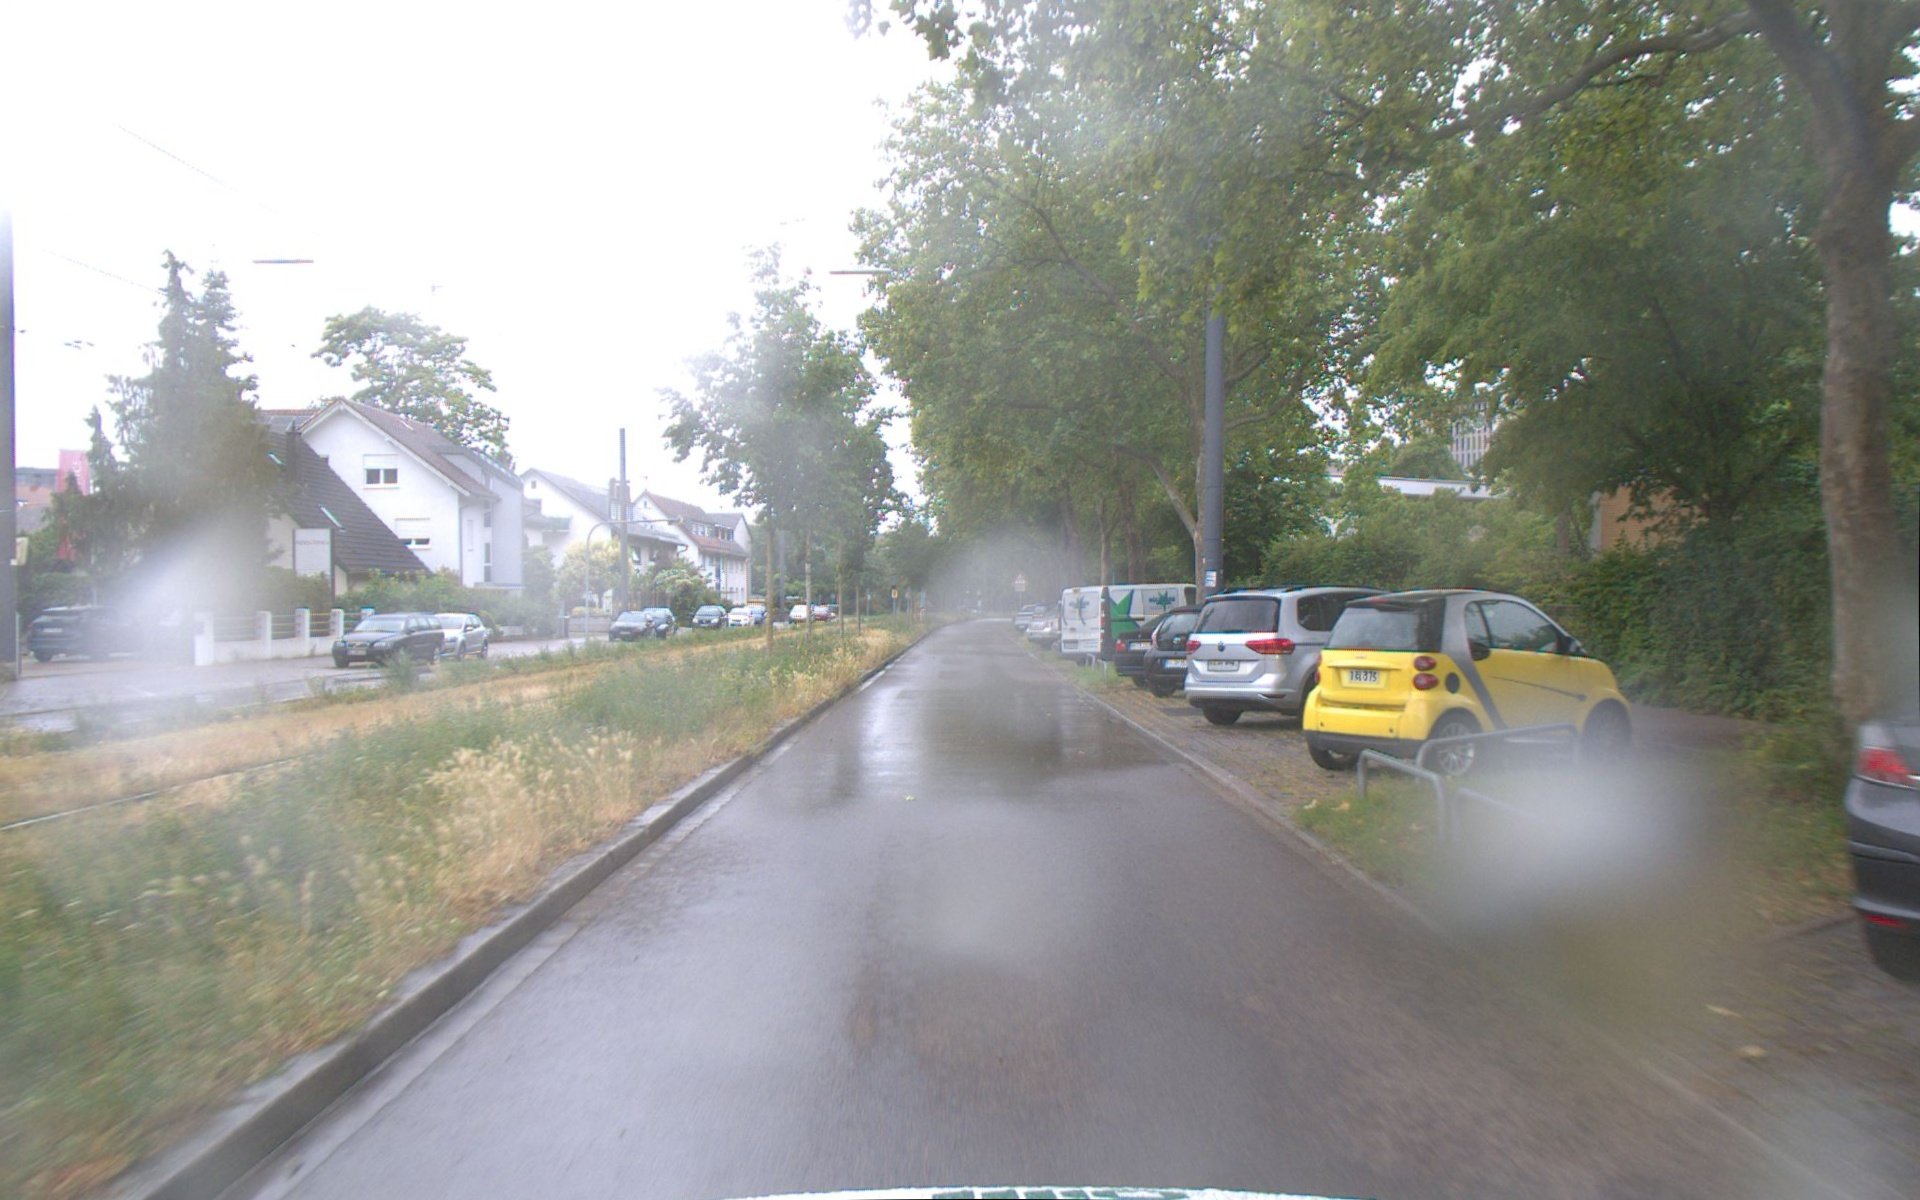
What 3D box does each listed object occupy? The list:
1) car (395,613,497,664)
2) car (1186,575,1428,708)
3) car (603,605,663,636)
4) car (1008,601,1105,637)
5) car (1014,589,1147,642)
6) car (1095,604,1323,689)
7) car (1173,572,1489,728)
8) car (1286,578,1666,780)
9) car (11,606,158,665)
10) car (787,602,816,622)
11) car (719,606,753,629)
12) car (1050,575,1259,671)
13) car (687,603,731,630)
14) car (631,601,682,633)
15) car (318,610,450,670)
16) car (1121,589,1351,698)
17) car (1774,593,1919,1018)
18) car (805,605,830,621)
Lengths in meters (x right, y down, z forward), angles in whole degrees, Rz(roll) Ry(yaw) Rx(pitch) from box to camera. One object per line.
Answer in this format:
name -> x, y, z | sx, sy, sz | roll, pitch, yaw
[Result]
car -> -16.050, 1.175, 51.827 | 1.953, 1.435, 3.971 | 1, 0, 0
car -> 5.006, 0.562, 23.776 | 3.237, 1.700, 1.574 | -2, -1, -34
car -> -15.853, 0.978, 80.453 | 1.952, 1.374, 4.241 | 1, 0, 2
car -> 4.919, 0.955, 84.048 | 4.723, 1.697, 1.969 | -2, 0, -37
car -> 4.314, 0.539, 59.144 | 4.503, 1.571, 1.867 | -4, 2, -32
car -> 4.537, 0.785, 29.830 | 4.265, 1.408, 1.716 | 0, 0, -40
car -> 4.638, 0.568, 20.432 | 4.007, 1.669, 1.631 | -2, -1, -39
car -> 4.490, 0.632, 14.388 | 2.864, 1.492, 1.588 | -2, 0, -29
car -> -24.159, 0.943, 45.787 | 1.953, 1.481, 3.918 | 1, 0, 0
car -> -13.839, 1.037, 145.052 | 1.952, 1.608, 4.518 | 1, 0, 2
car -> -15.454, 1.216, 114.397 | 1.759, 1.514, 3.598 | 1, 0, 2
car -> 4.757, 0.499, 40.045 | 4.972, 2.048, 1.975 | -3, 1, -35
car -> -15.571, 1.022, 102.763 | 1.952, 1.543, 4.206 | 1, 0, 2
car -> -15.645, 0.866, 85.415 | 1.835, 1.577, 3.870 | 1, 0, 0
car -> -15.917, 1.065, 45.984 | 1.952, 1.481, 4.532 | 1, 0, 2
car -> 4.471, 0.680, 26.683 | 3.370, 1.545, 1.825 | -2, 0, -38
car -> 5.114, 0.637, 6.577 | 4.020, 1.443, 1.719 | -2, 0, -37
car -> -13.661, 1.241, 158.833 | 1.952, 1.514, 4.206 | 1, 0, 2
